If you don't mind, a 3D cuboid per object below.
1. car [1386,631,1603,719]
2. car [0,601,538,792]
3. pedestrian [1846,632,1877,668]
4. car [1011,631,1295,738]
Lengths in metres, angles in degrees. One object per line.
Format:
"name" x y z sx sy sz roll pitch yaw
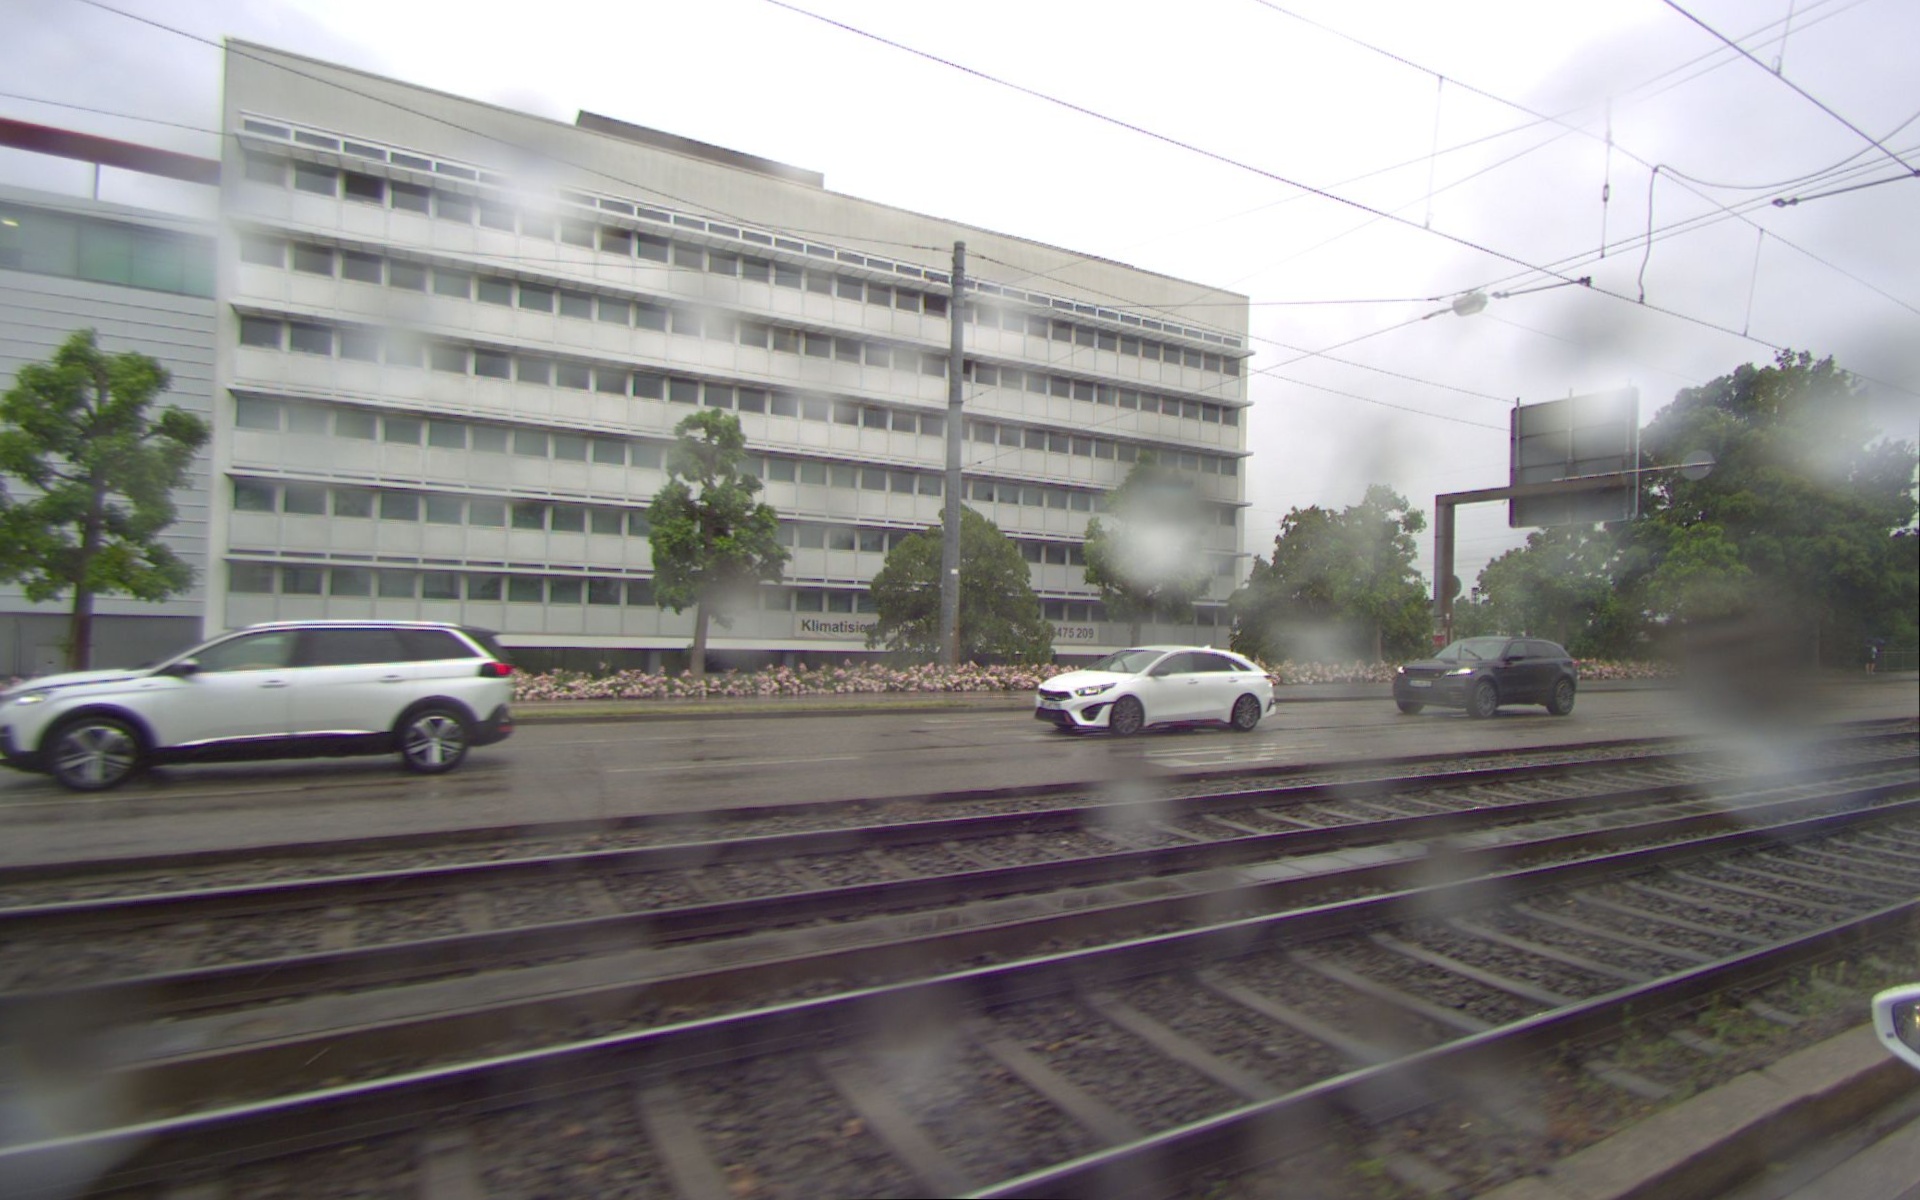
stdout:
"car" 11.767 1.556 22.044 4.824 1.744 1.984 1 -2 -30
"car" -7.183 0.969 10.884 4.635 1.704 1.763 2 -4 -31
"pedestrian" 44.743 2.472 49.844 1.107 1.782 0.847 1 -2 -30
"car" 3.364 1.339 17.211 4.712 1.604 1.983 1 -2 -32
